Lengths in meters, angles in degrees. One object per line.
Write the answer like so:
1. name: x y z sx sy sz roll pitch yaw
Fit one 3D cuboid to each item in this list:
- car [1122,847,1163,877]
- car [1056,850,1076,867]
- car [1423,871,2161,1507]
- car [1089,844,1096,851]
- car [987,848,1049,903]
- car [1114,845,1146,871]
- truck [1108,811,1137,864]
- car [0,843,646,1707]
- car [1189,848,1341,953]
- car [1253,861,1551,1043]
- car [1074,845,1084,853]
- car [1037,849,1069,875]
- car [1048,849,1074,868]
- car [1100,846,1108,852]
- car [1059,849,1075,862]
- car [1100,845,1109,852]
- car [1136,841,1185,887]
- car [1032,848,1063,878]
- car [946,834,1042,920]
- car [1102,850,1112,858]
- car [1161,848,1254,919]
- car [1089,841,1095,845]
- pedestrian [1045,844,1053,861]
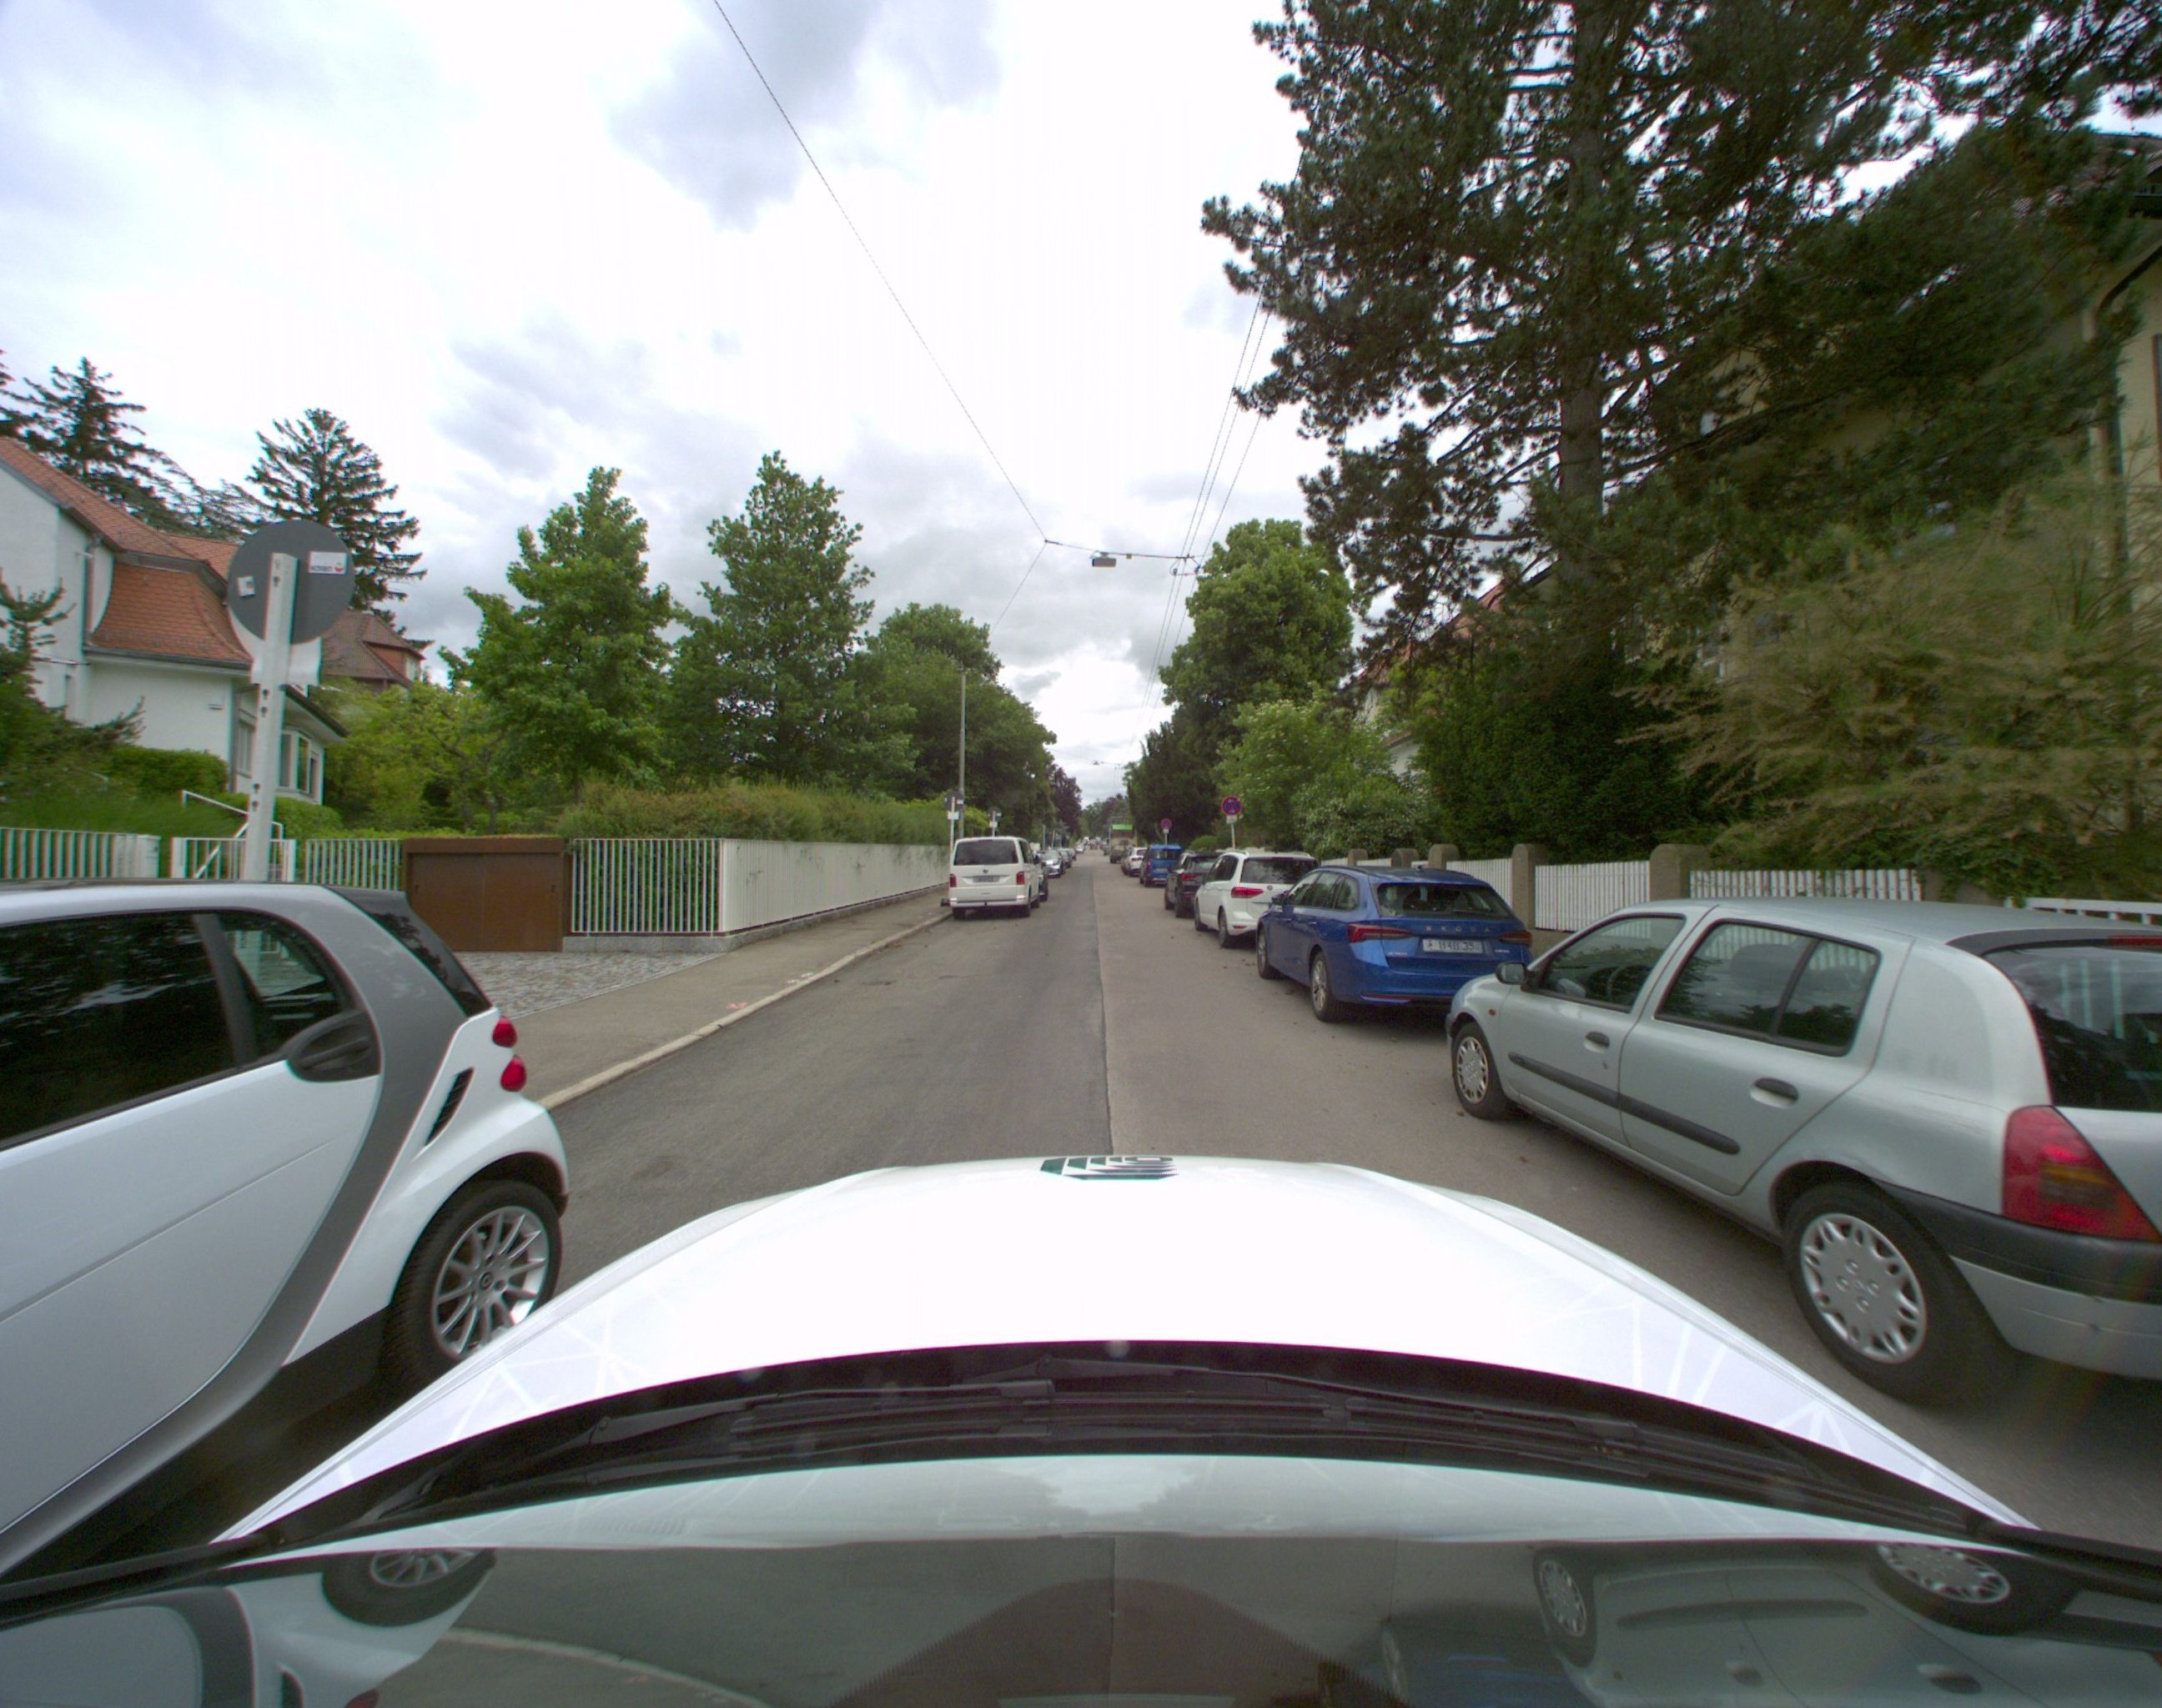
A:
1. car: 3.437 0.407 46.303 1.753 1.606 4.570 1 0 -3
2. car: -1.364 0.412 75.280 1.590 1.433 4.001 -2 0 1
3. car: 3.094 0.834 3.724 1.568 1.400 3.656 1 0 1
4. car: 2.794 -1.665 196.228 1.628 1.701 3.494 1 1 0
5. car: -1.995 0.634 26.878 1.786 1.623 4.340 -1 0 -2
6. car: 3.115 0.248 52.410 1.693 1.570 4.307 -1 0 -1
7. truck: 3.835 -1.522 76.880 2.515 4.748 7.189 1 0 1
8. car: -2.597 0.794 1.816 1.435 1.552 2.775 -3 0 7
9. car: 3.196 0.735 15.038 1.779 1.603 4.303 2 0 -1
10. car: 3.064 0.824 8.707 1.642 1.458 4.052 1 -1 1
11. car: -0.385 -0.955 166.549 1.704 1.586 4.004 0 0 3
12. car: -1.700 0.474 50.201 1.649 1.481 3.889 -3 1 1
13. car: -1.524 0.322 63.319 1.634 1.422 4.553 -2 0 3
14. car: 5.600 -1.170 199.118 1.782 1.529 3.736 0 0 2
15. car: -1.536 0.174 90.117 1.632 1.395 3.988 -2 0 -1
16. car: 5.512 -1.266 190.220 1.804 1.335 3.632 1 1 0
17. car: 3.413 0.389 35.453 1.677 1.829 4.156 2 1 0
18. car: -1.854 0.492 45.479 1.618 1.533 2.960 -2 0 -3
19. car: -2.113 0.548 21.128 1.848 1.913 4.620 -2 0 1
20. car: 4.692 -0.049 146.677 1.773 1.489 3.999 0 0 0
21. car: 3.145 0.699 20.960 1.744 1.608 4.075 2 0 0
22. car: 3.400 -3.499 257.765 1.720 1.407 3.808 0 0 5
23. pedestrian: -3.815 -0.185 96.574 0.850 2.013 0.700 2 0 -5
